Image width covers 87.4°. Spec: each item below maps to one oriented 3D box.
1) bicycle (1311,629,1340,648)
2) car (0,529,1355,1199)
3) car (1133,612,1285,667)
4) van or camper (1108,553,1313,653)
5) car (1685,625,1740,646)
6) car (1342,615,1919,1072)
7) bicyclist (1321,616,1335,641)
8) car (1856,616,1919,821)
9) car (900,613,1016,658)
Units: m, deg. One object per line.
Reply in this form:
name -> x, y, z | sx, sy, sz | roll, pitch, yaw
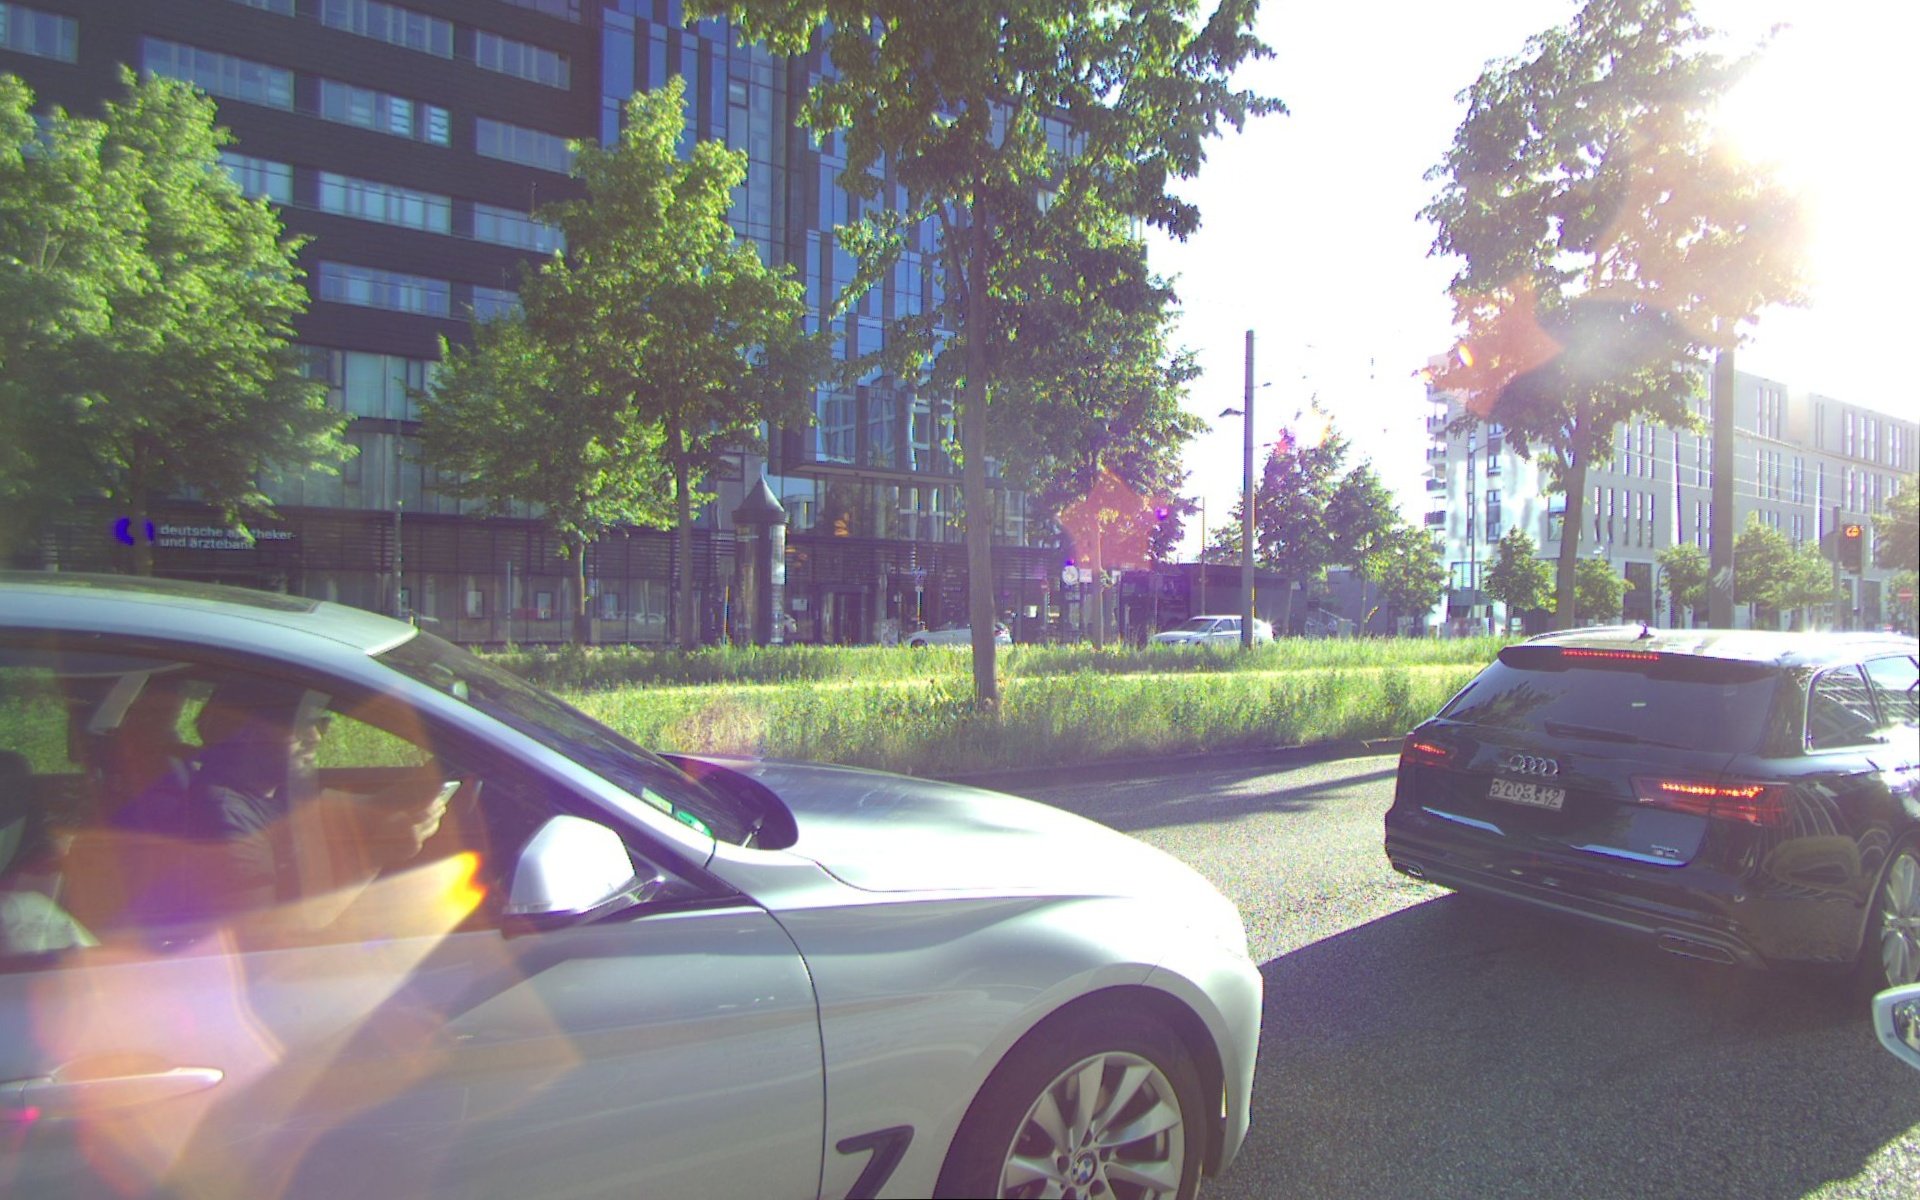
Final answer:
bicycle -> 21.272, 2.237, 58.374 | 1.826, 1.047, 0.525 | 2, 0, -31
car -> -1.513, 0.677, 1.954 | 4.689, 1.508, 1.799 | 1, -1, -31
car -> 7.698, 1.182, 30.905 | 4.684, 1.558, 1.843 | 1, -1, -33
van or camper -> 11.707, 0.240, 46.350 | 10.109, 4.248, 2.740 | 2, -1, -30
car -> 52.457, 2.494, 69.993 | 4.420, 1.360, 1.572 | 2, -1, -31
car -> 4.213, 0.851, 5.210 | 4.455, 1.476, 1.799 | 1, -1, -31
bicyclist -> 21.409, 1.684, 58.422 | 0.619, 1.425, 0.490 | 2, 0, -30
car -> 9.272, 0.935, 8.146 | 4.063, 1.548, 1.800 | 1, -1, -30
car -> -0.061, 1.281, 36.904 | 3.920, 1.525, 1.759 | 1, -1, 18
